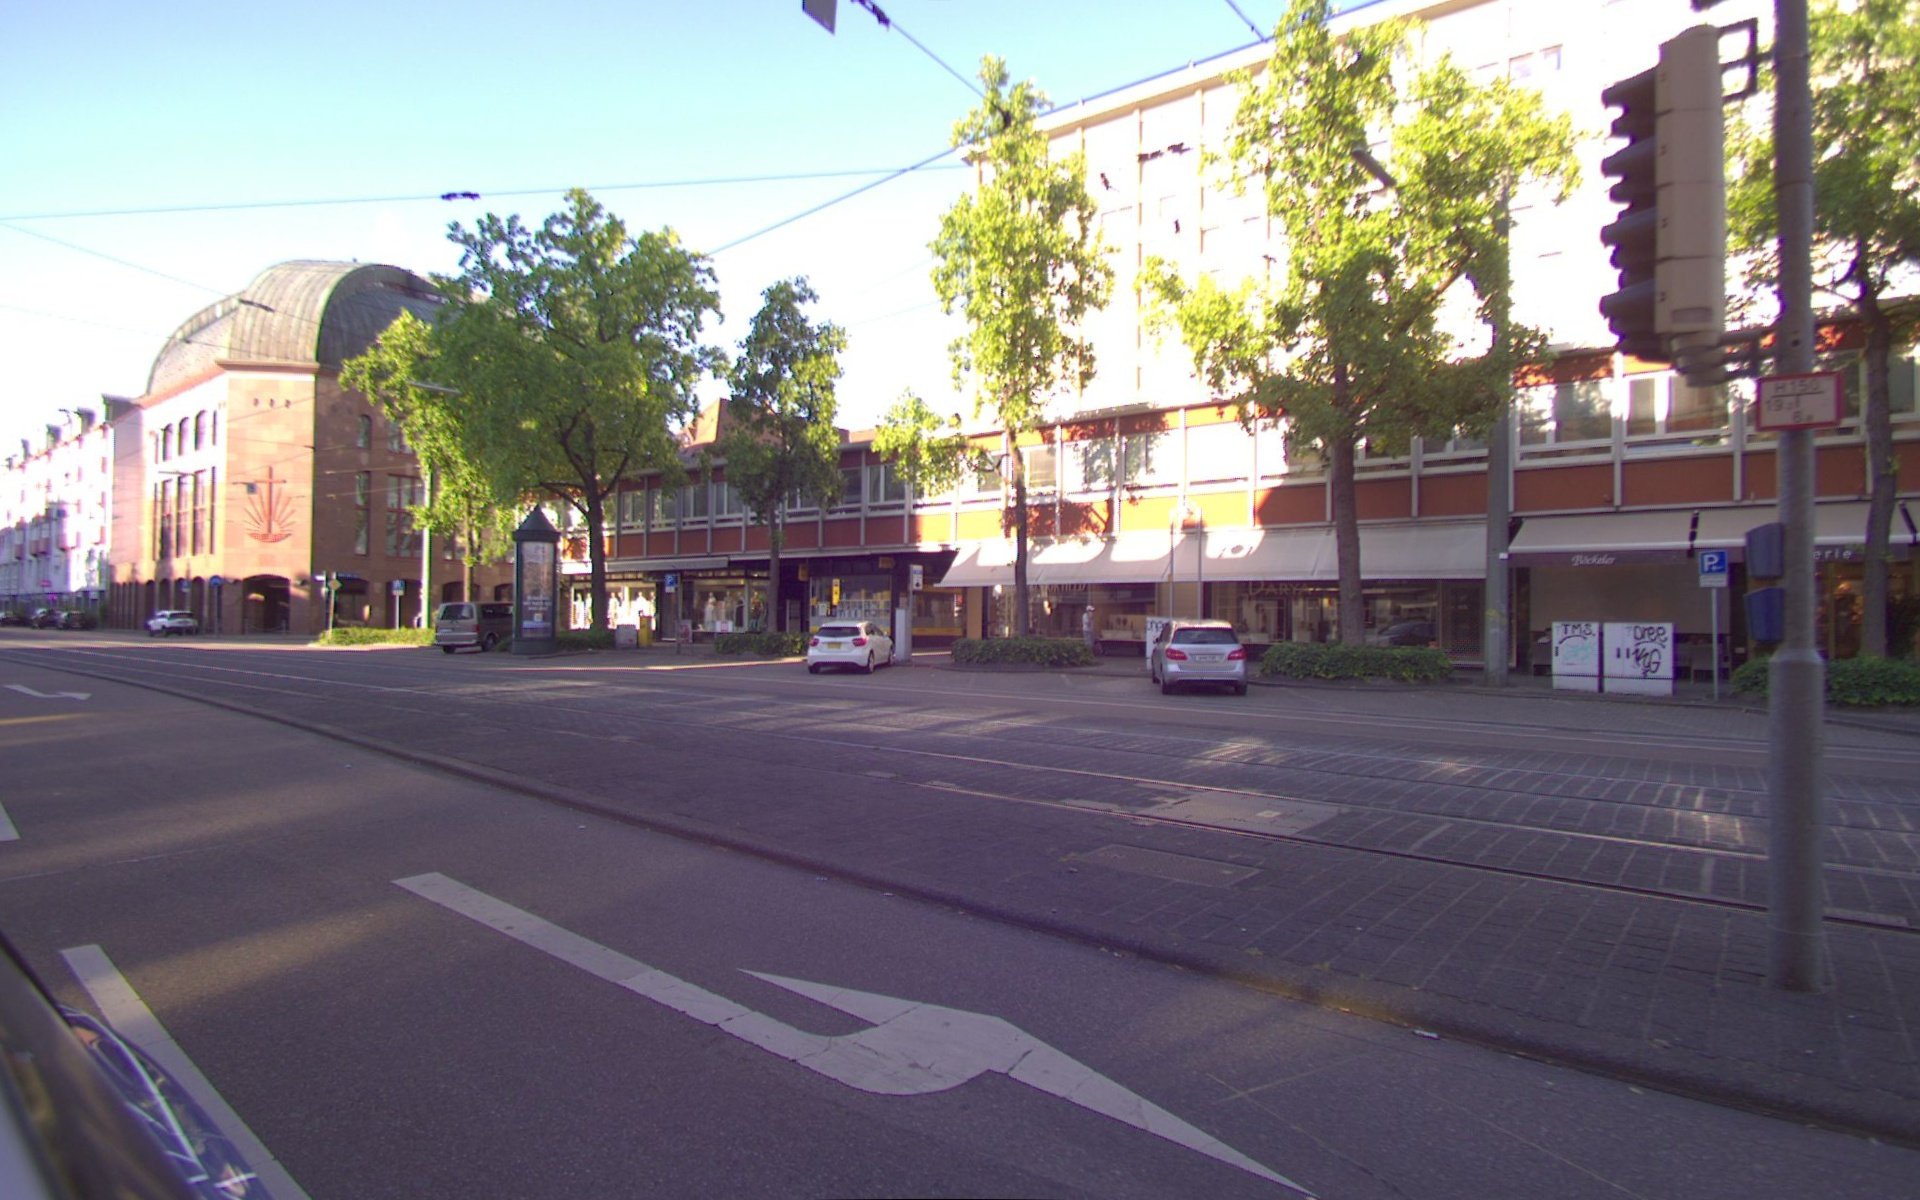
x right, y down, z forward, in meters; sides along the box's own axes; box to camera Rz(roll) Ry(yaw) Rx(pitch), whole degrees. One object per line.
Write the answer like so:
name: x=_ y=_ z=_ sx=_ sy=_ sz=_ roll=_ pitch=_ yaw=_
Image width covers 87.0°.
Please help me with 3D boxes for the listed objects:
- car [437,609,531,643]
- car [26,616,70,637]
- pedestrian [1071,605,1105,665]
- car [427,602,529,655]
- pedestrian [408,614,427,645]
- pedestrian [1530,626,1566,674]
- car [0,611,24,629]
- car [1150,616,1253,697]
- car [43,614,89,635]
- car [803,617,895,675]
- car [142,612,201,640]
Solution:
car: x=-29.528 y=1.633 z=62.862 sx=1.996 sy=2.029 sz=4.925 roll=-1 pitch=-2 yaw=36
car: x=-75.112 y=2.138 z=83.364 sx=3.993 sy=1.615 sz=1.942 roll=0 pitch=0 yaw=37
pedestrian: x=3.910 y=1.064 z=30.905 sx=0.626 sy=1.782 sz=0.770 roll=2 pitch=-1 yaw=-35
car: x=-18.733 y=1.072 z=39.534 sx=1.887 sy=1.979 sz=3.995 roll=0 pitch=0 yaw=4
pedestrian: x=-30.654 y=1.651 z=57.157 sx=0.548 sy=1.761 sz=0.780 roll=-1 pitch=-2 yaw=41
pedestrian: x=14.921 y=1.267 z=25.673 sx=0.726 sy=1.181 sz=0.770 roll=-1 pitch=-2 yaw=36
car: x=-89.808 y=1.840 z=95.210 sx=3.993 sy=1.615 sz=1.942 roll=0 pitch=0 yaw=37
car: x=5.251 y=1.170 z=22.466 sx=1.776 sy=1.566 sz=3.991 roll=0 pitch=0 yaw=7
car: x=-70.071 y=1.885 z=79.273 sx=3.993 sy=1.615 sz=1.942 roll=0 pitch=0 yaw=37
car: x=-3.095 y=1.263 z=29.054 sx=1.776 sy=1.486 sz=3.991 roll=0 pitch=0 yaw=7
car: x=-48.830 y=1.576 z=62.646 sx=3.993 sy=1.615 sz=1.888 roll=0 pitch=0 yaw=37
